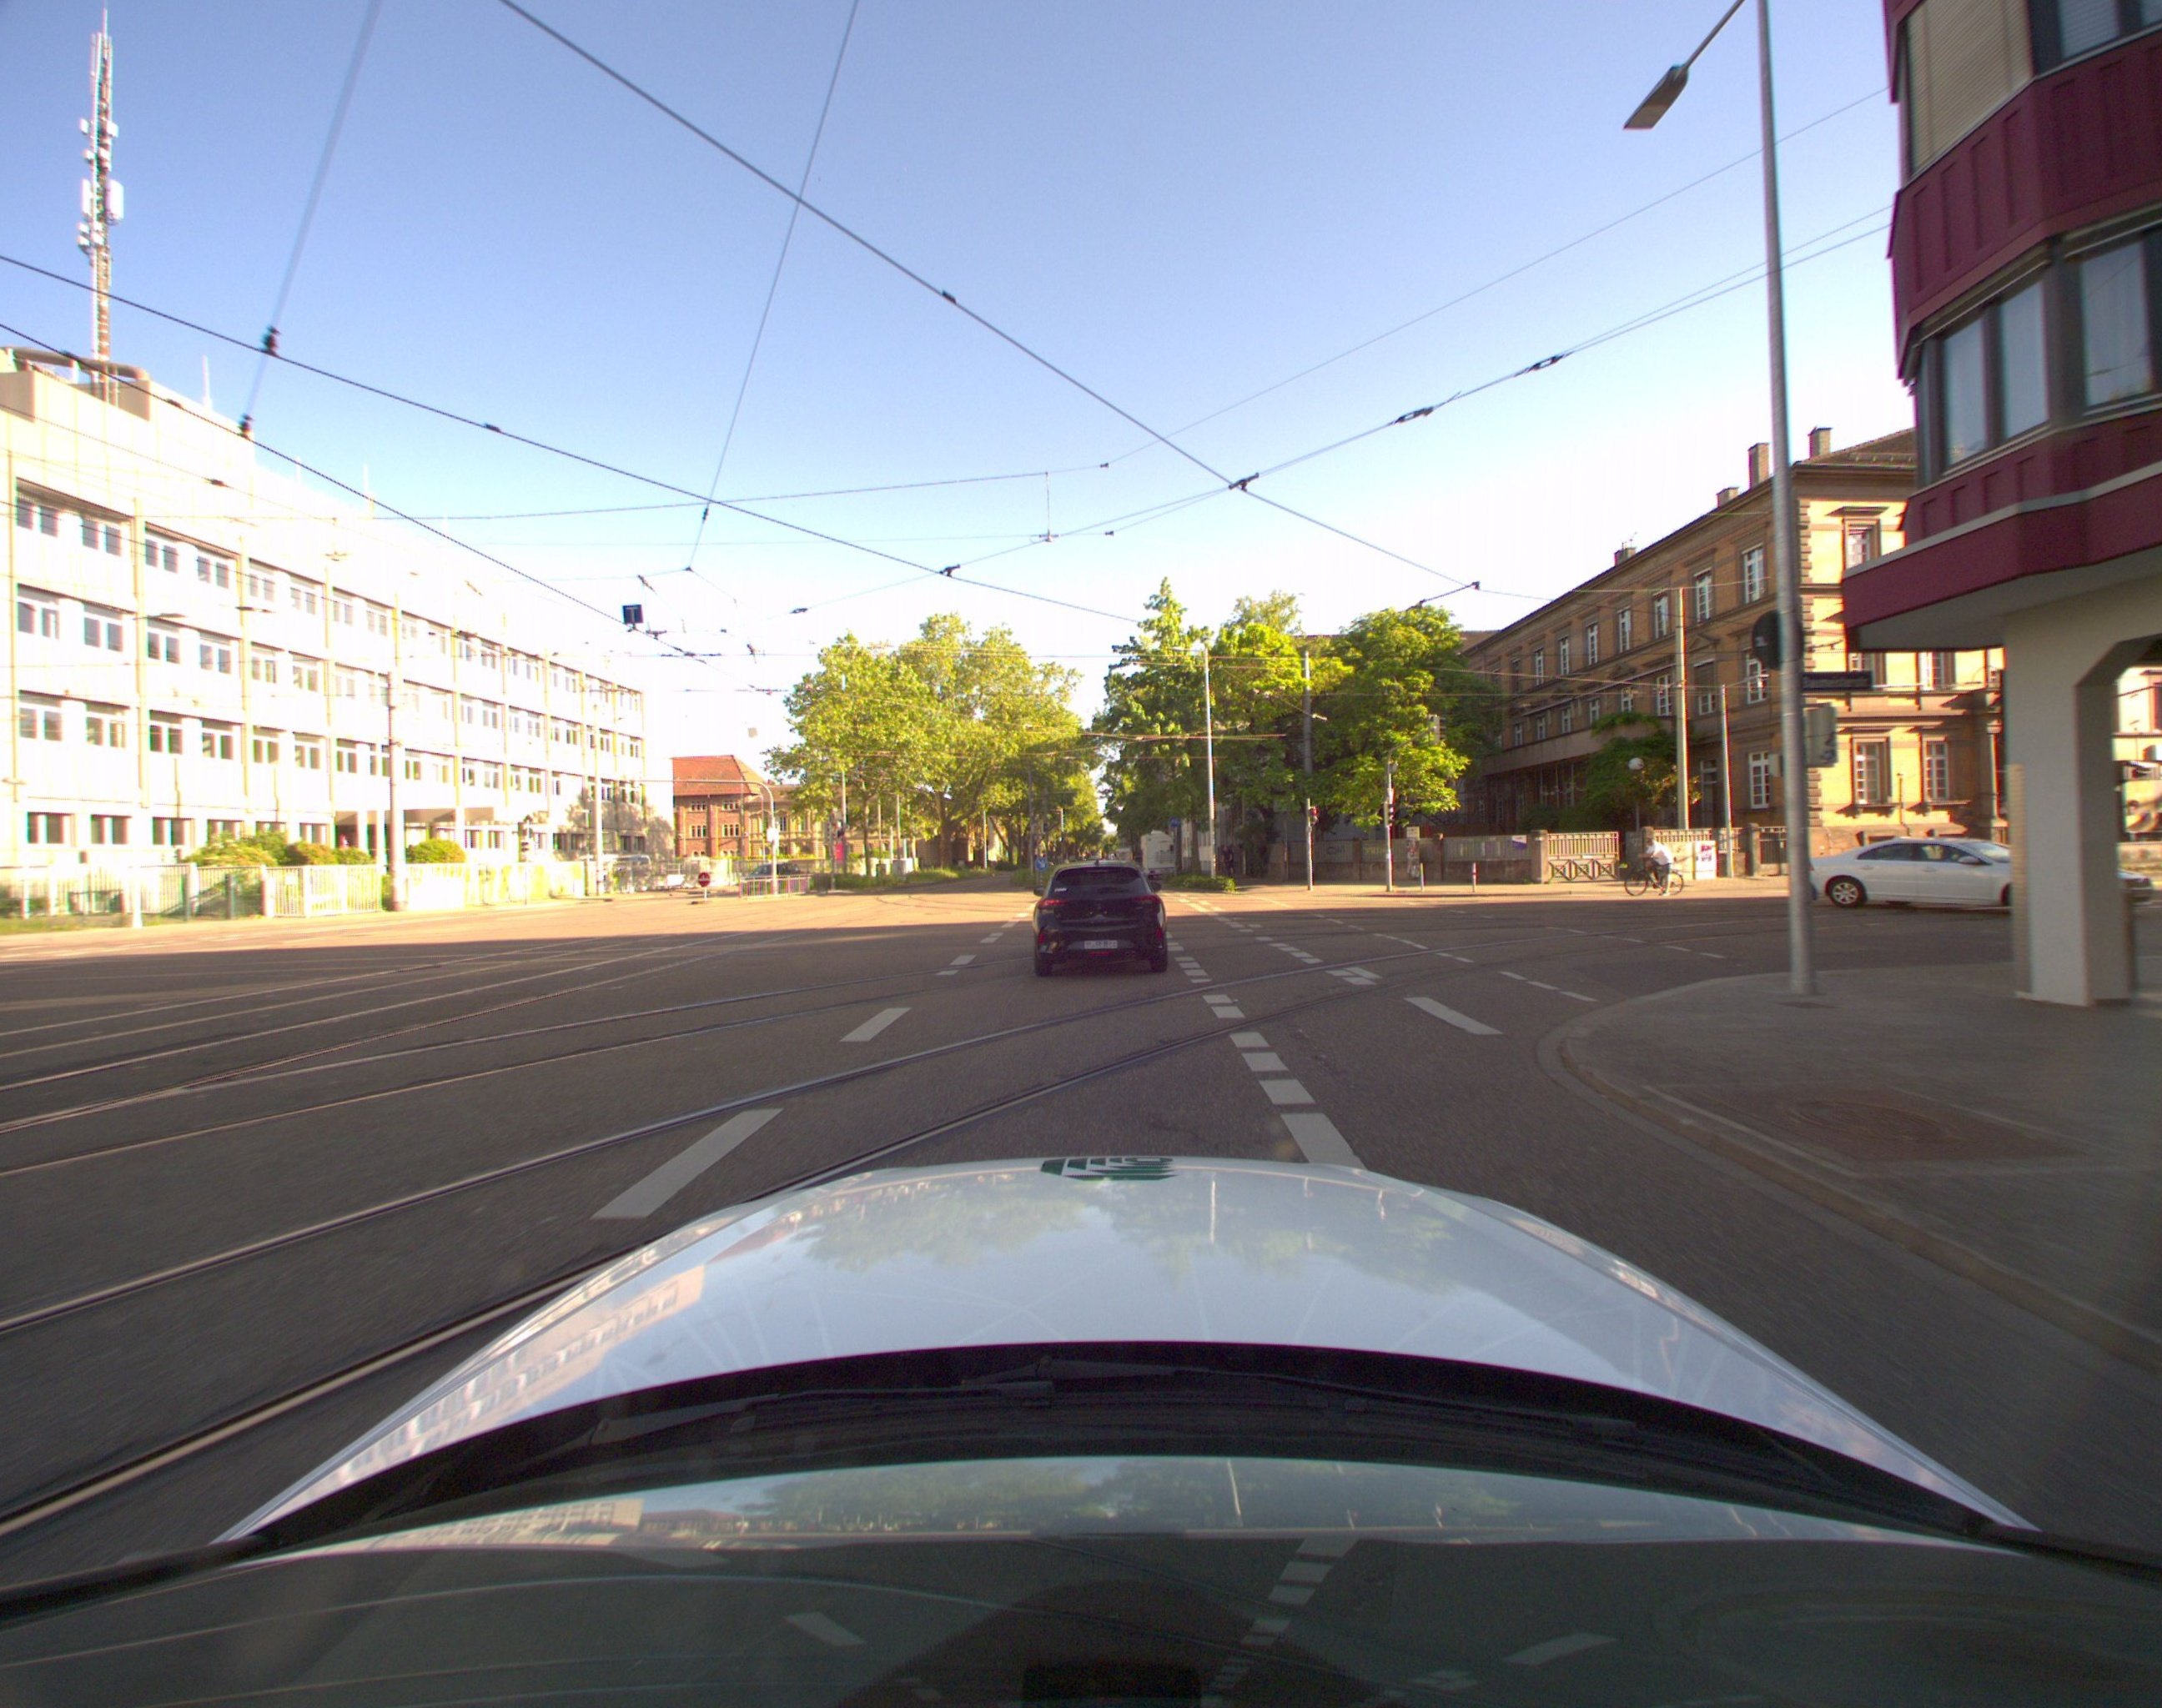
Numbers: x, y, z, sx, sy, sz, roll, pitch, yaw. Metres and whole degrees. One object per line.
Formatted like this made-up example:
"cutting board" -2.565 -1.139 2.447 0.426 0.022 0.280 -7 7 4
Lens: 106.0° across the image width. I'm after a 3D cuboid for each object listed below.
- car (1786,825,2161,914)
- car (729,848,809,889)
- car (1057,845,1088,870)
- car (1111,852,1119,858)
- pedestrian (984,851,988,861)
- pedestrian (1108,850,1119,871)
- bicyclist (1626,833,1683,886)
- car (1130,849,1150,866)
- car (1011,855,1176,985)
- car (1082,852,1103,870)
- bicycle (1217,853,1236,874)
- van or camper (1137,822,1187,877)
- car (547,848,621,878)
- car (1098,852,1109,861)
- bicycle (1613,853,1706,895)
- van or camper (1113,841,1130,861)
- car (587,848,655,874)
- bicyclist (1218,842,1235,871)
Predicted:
"car" 17.528 0.242 16.361 1.853 1.455 4.874 -2 1 -15
"car" -16.427 0.719 43.118 1.982 1.947 4.435 -1 1 9
"car" -0.577 0.226 56.895 1.986 1.627 4.471 1 0 1
"car" 7.666 0.194 183.464 1.897 1.425 4.219 -1 0 3
"pedestrian" -15.929 0.332 136.148 0.616 1.733 0.596 1 0 1
"pedestrian" 3.354 0.659 83.696 1.032 2.024 1.213 -1 0 1
"bicyclist" 16.922 0.140 24.062 0.925 1.509 1.009 -2 0 -9
"car" 5.733 0.295 79.619 1.783 1.510 3.876 -3 0 2
"car" 0.260 0.773 11.606 1.897 1.425 4.219 -1 0 3
"car" 1.089 0.631 77.280 1.783 1.510 3.876 -3 0 2
"bicycle" 7.746 0.505 43.250 0.634 1.070 1.960 -2 0 19
"van or camper" 5.123 -0.298 52.726 2.367 3.125 7.552 -4 0 1
"car" -36.001 0.611 59.122 1.983 2.013 4.734 -2 0 7
"car" 4.108 0.423 148.975 1.897 1.425 4.219 -1 0 3
"bicycle" 17.082 0.576 24.056 2.323 1.119 0.843 -2 0 -10
"van or camper" 6.291 -0.455 126.072 2.476 2.993 5.438 0 0 3
"car" -33.069 0.467 58.725 1.983 1.703 4.386 -2 0 7
"bicyclist" 7.749 0.107 43.301 0.742 1.510 0.705 -1 0 19
